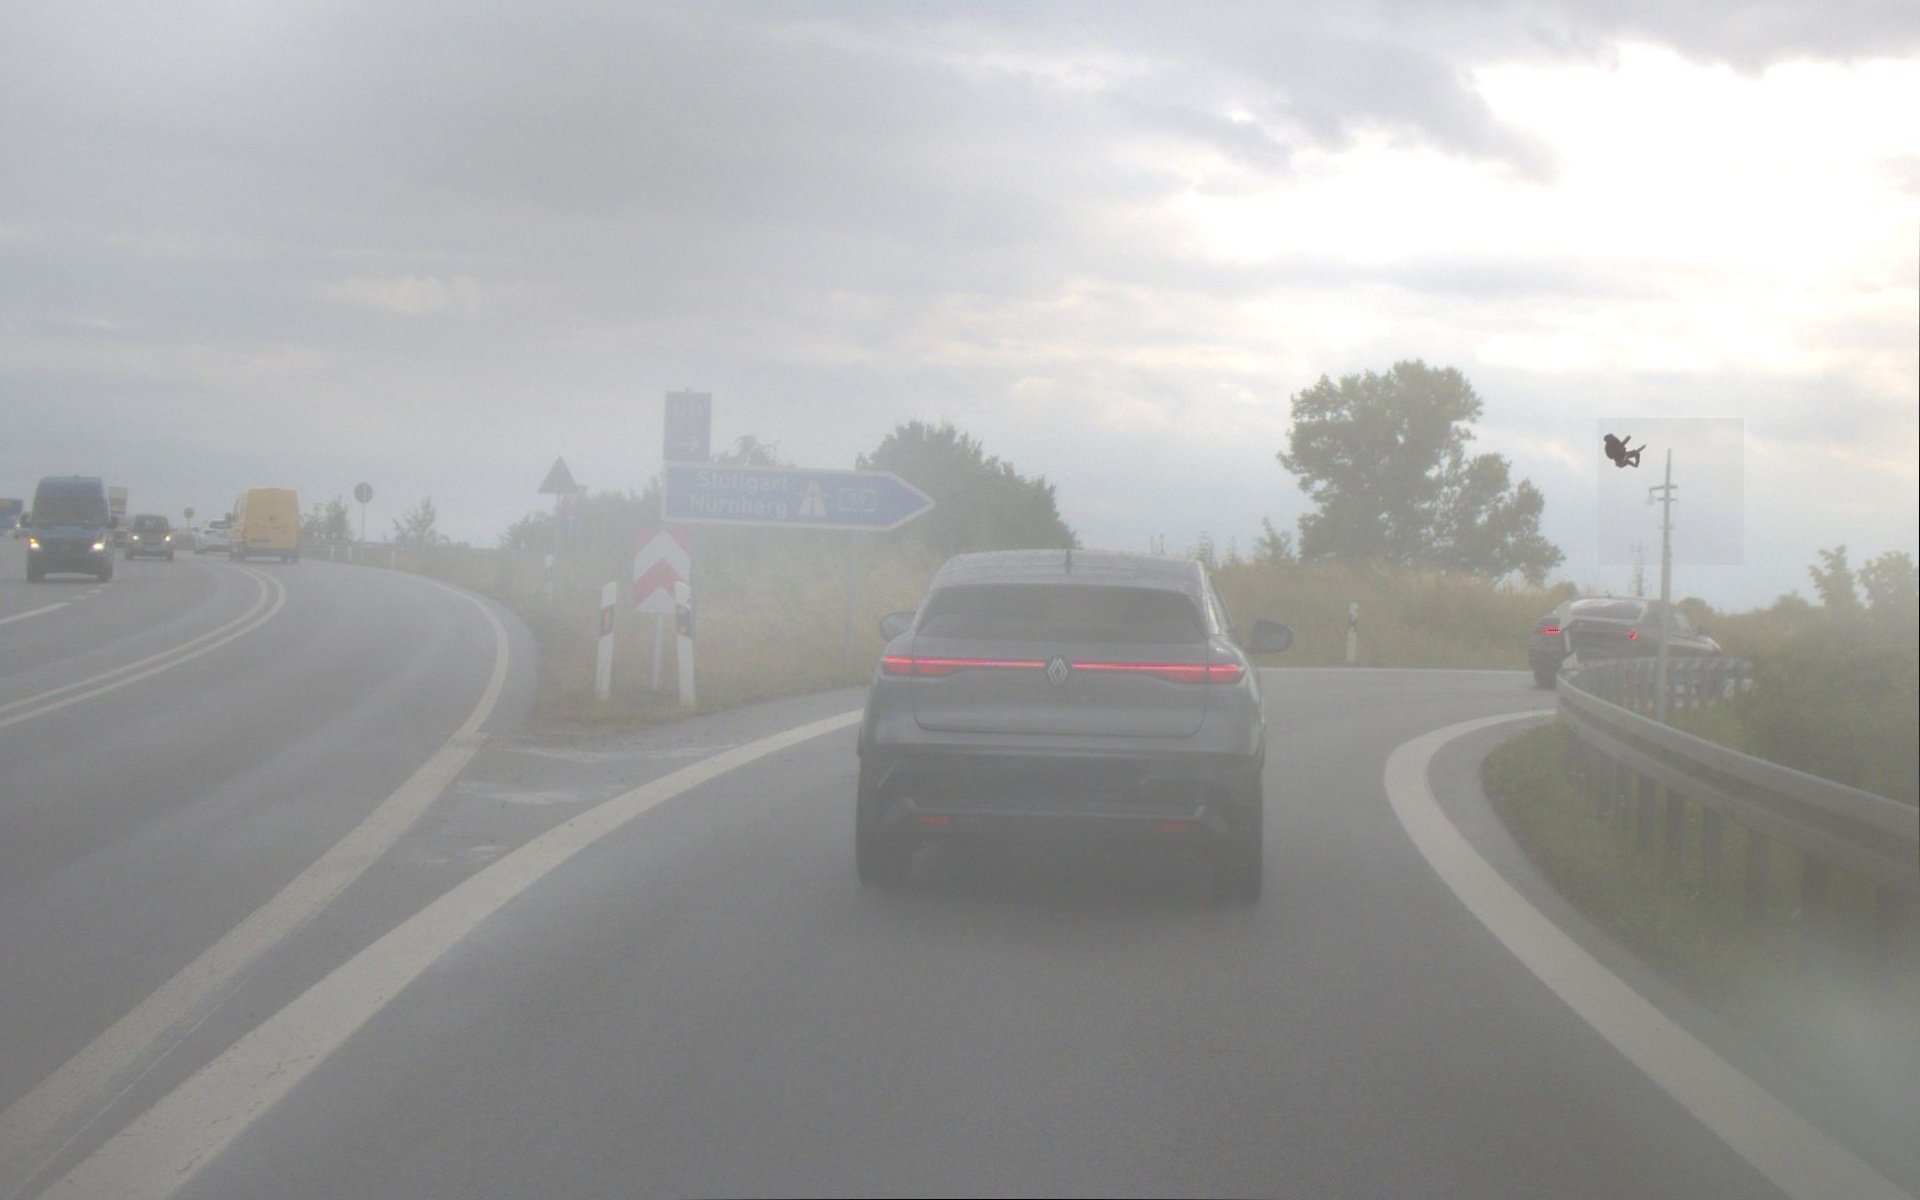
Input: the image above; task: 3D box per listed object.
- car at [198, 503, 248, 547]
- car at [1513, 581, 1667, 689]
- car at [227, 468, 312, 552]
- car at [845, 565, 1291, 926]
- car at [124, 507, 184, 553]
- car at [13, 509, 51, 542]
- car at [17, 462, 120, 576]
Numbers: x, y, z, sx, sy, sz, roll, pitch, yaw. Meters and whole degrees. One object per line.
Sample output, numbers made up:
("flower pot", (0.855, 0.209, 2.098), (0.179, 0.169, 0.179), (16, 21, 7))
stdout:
("car", (-28.982, -2.961, 135.132), (1.791, 1.682, 4.001), (1, 1, -14))
("car", (9.784, 0.567, 53.217), (1.793, 1.436, 3.996), (4, -1, 17))
("car", (-23.645, -3.074, 117.534), (2.572, 2.716, 7.199), (2, 1, -13))
("car", (0.488, 0.601, 15.969), (1.791, 1.436, 4.000), (1, 0, 1))
("car", (-26.546, -2.320, 113.178), (1.743, 1.360, 4.052), (2, 2, -15))
("car", (-43.934, -3.525, 162.756), (1.652, 1.442, 3.388), (2, 0, -15))
("car", (-22.751, -2.057, 87.865), (2.351, 2.692, 6.996), (2, 1, -14))
